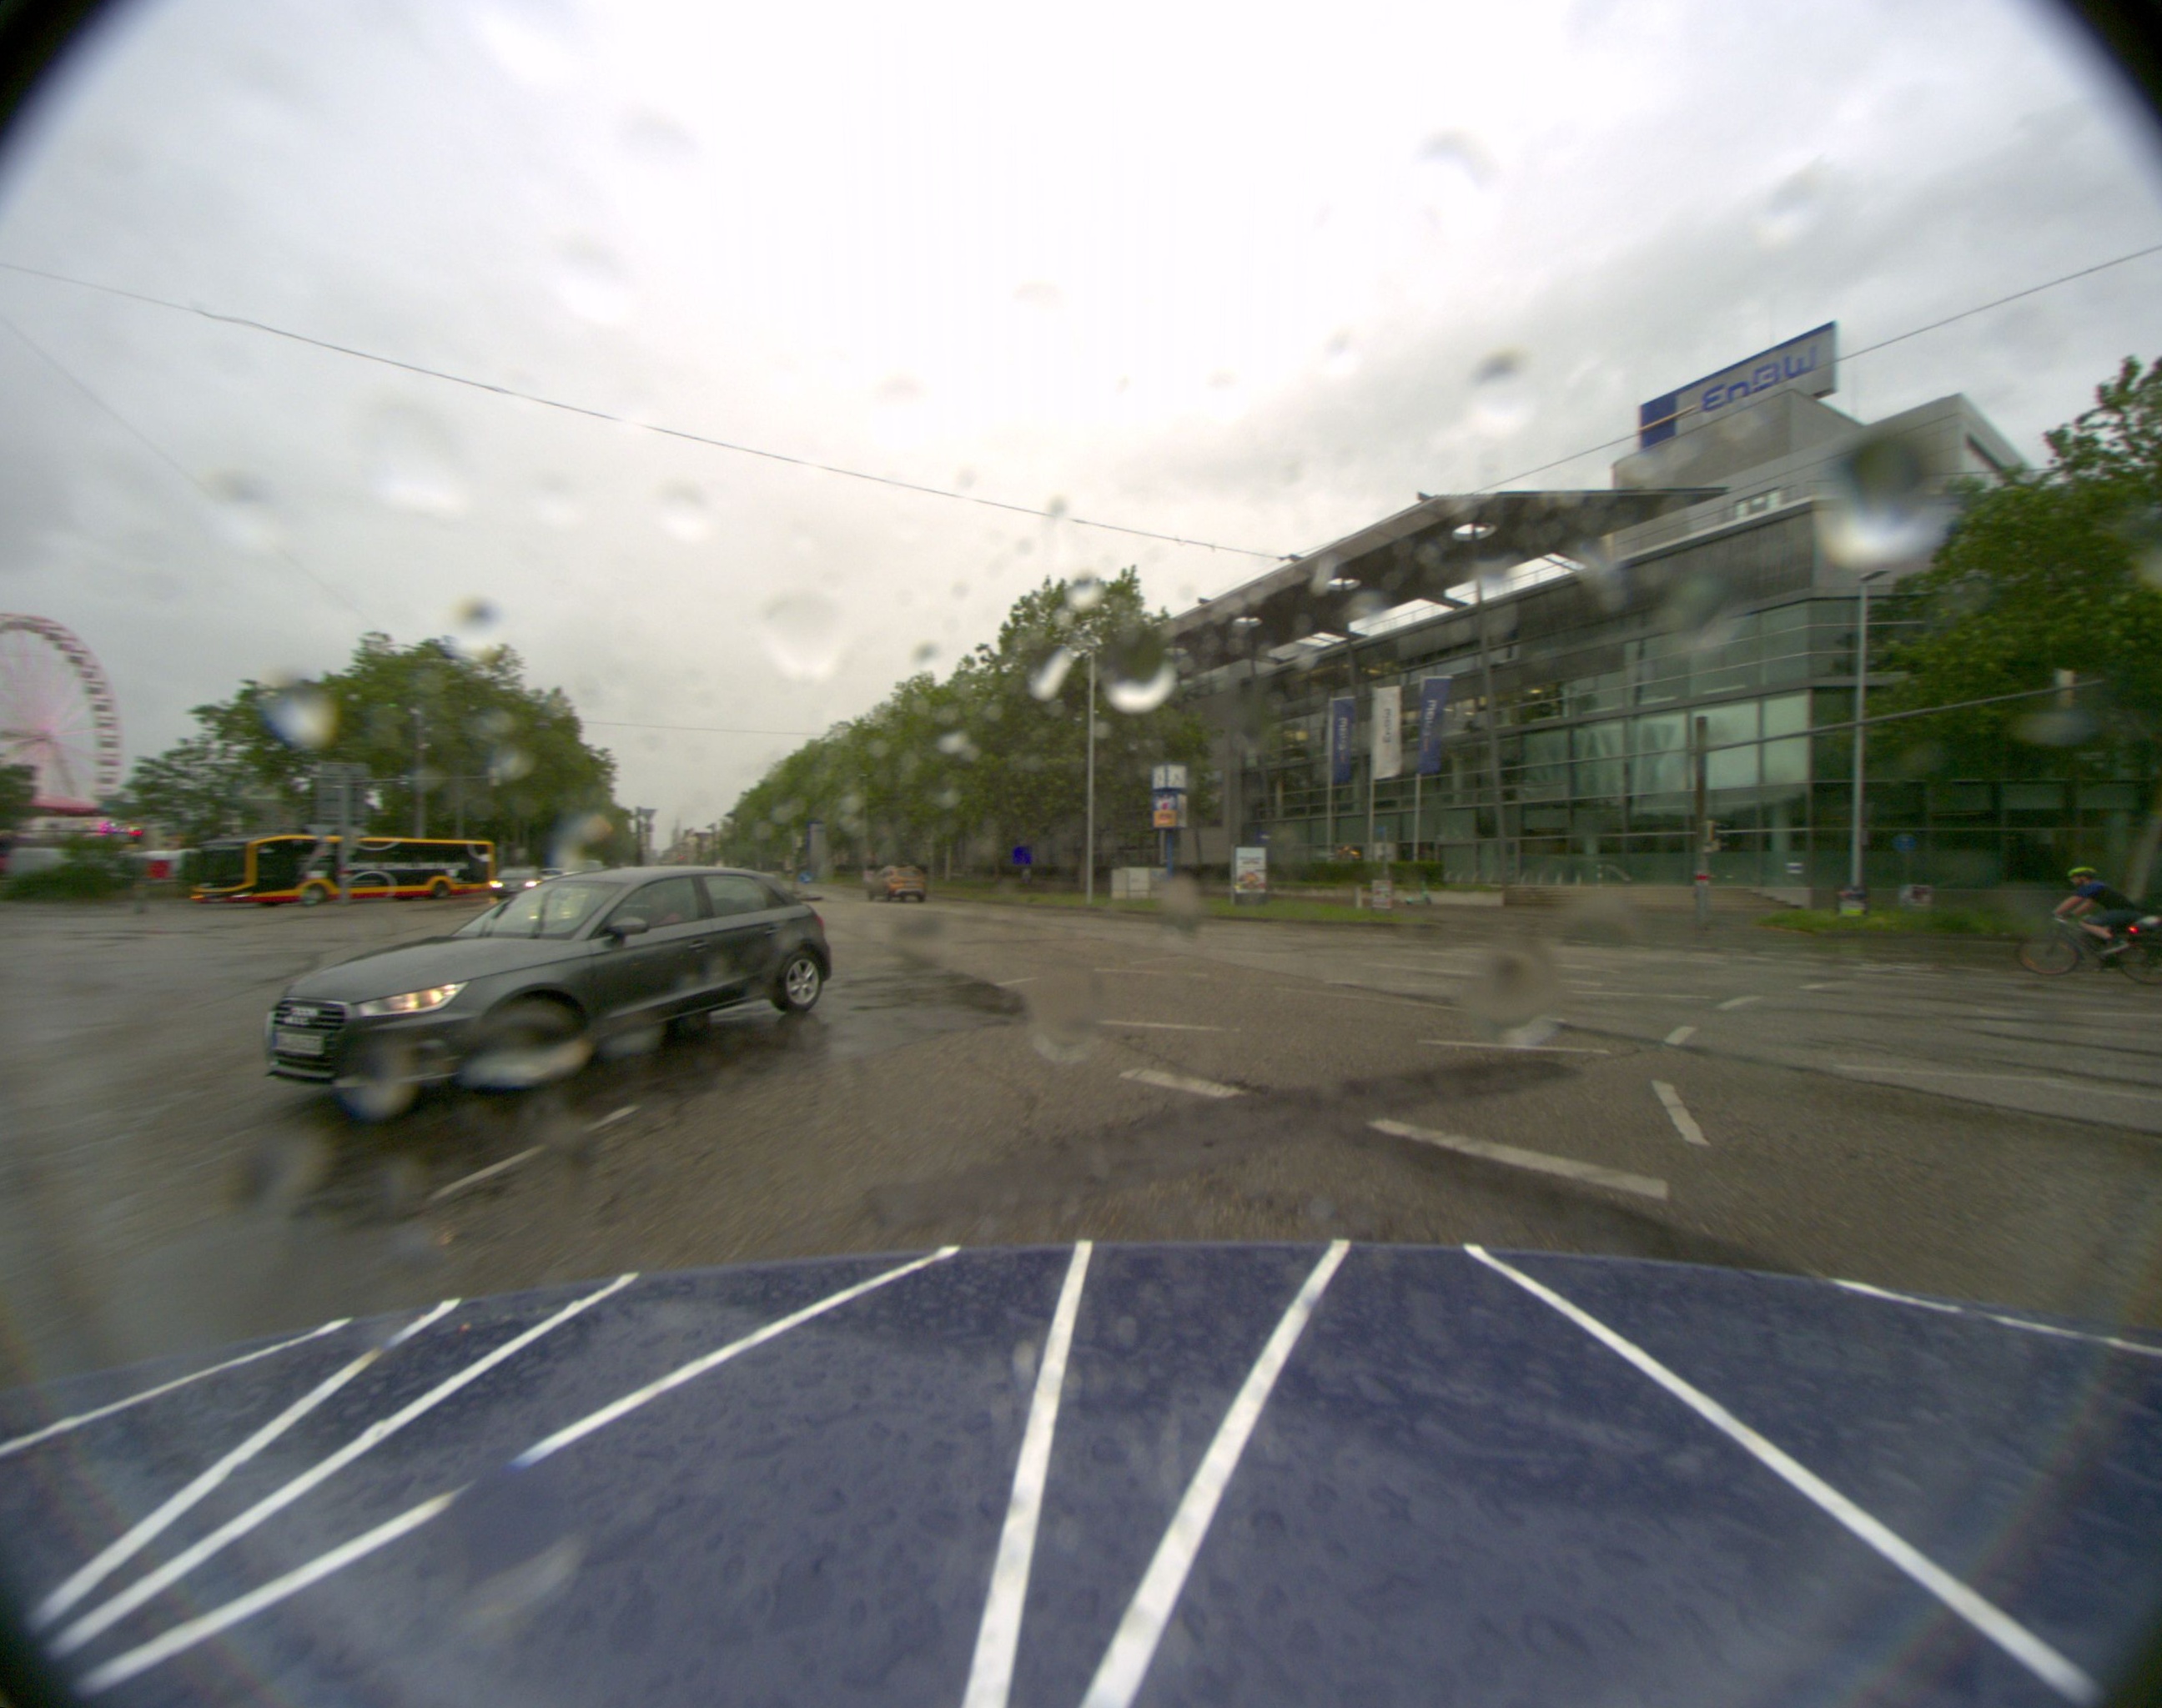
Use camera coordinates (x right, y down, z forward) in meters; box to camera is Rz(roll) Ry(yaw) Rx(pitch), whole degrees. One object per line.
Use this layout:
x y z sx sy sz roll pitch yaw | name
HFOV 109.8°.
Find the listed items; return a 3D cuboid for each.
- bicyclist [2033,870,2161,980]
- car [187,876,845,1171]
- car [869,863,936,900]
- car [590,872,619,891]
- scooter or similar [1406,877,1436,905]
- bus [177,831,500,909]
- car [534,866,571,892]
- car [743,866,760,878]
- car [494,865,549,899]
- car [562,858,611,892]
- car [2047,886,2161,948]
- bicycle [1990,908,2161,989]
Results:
15.462 1.039 11.520 0.806 1.583 1.045 0 -2 -21 | bicyclist
-3.914 0.950 6.059 1.837 1.390 3.759 0 1 24 | car
-8.497 1.265 35.860 1.909 1.622 4.160 1 -1 -31 | car
-43.364 2.472 69.094 2.004 1.529 3.989 0 0 -35 | car
14.301 1.556 31.977 0.341 1.132 1.172 0 0 -33 | scooter or similar
-35.932 0.716 38.079 3.270 3.249 12.297 0 0 6 | bus
-37.718 1.780 54.201 1.895 1.744 3.989 0 0 -39 | car
-45.853 2.497 105.671 1.845 1.543 3.991 1 0 -28 | car
-29.458 1.443 40.138 1.937 1.641 4.331 0 0 -31 | car
-27.937 1.143 43.035 2.081 1.838 4.735 0 0 -30 | car
27.315 1.565 18.926 3.995 1.428 1.804 1 -1 4 | car
15.448 1.408 11.581 0.695 1.088 1.910 1 -2 -19 | bicycle
